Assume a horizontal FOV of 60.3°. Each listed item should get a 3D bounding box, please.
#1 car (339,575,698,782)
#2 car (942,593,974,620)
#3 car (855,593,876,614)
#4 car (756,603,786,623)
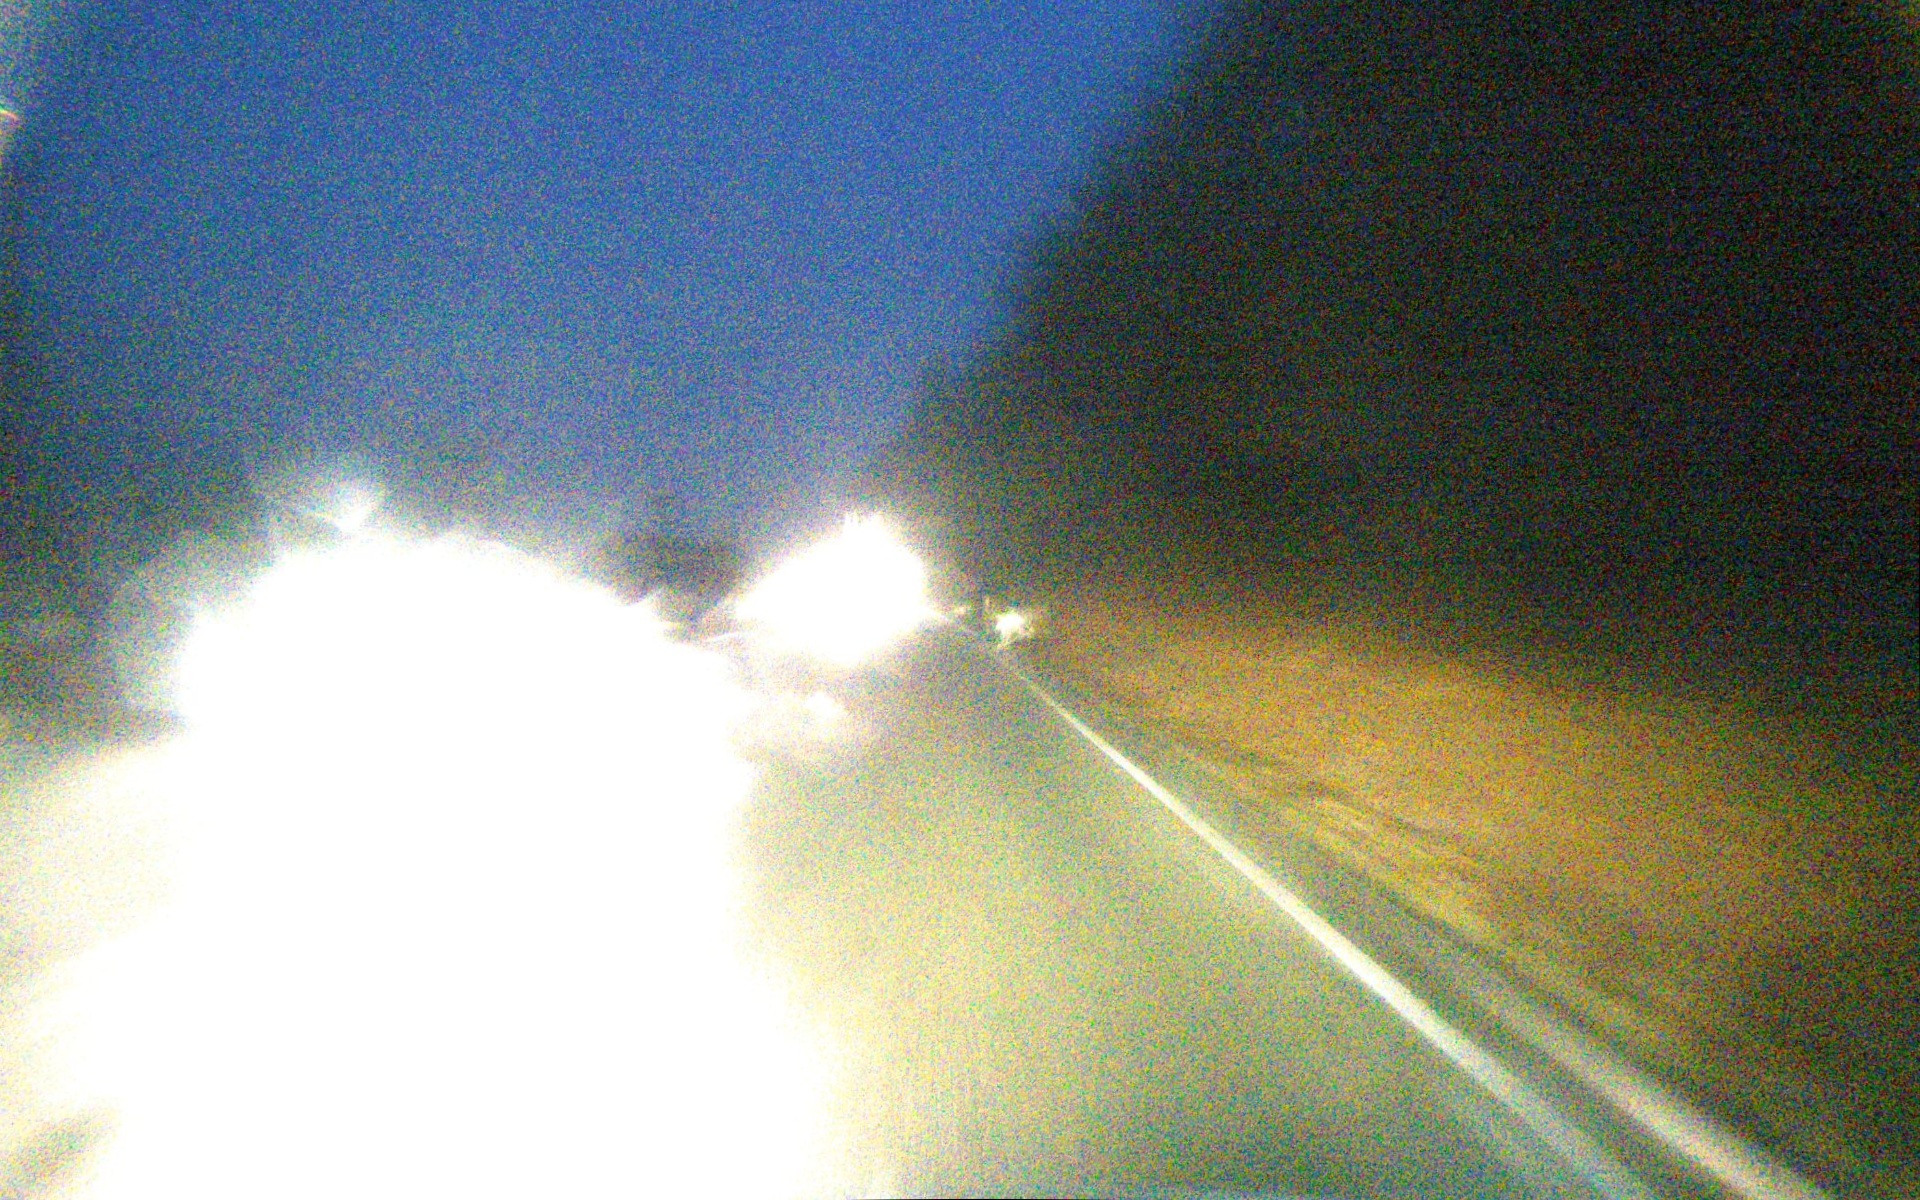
[{"bbox_3d":[-3.584,0.580,14.330,1.953,1.473,4.428,1,0,-1],"label":"car"},{"bbox_3d":[-0.095,0.391,103.242,1.952,1.646,4.000,0,0,1],"label":"car"},{"bbox_3d":[-9.632,0.382,169.033,1.953,2.049,3.999,1,0,-2],"label":"car"},{"bbox_3d":[-15.344,1.043,134.253,1.953,1.473,4.428,1,0,-1],"label":"car"}]
